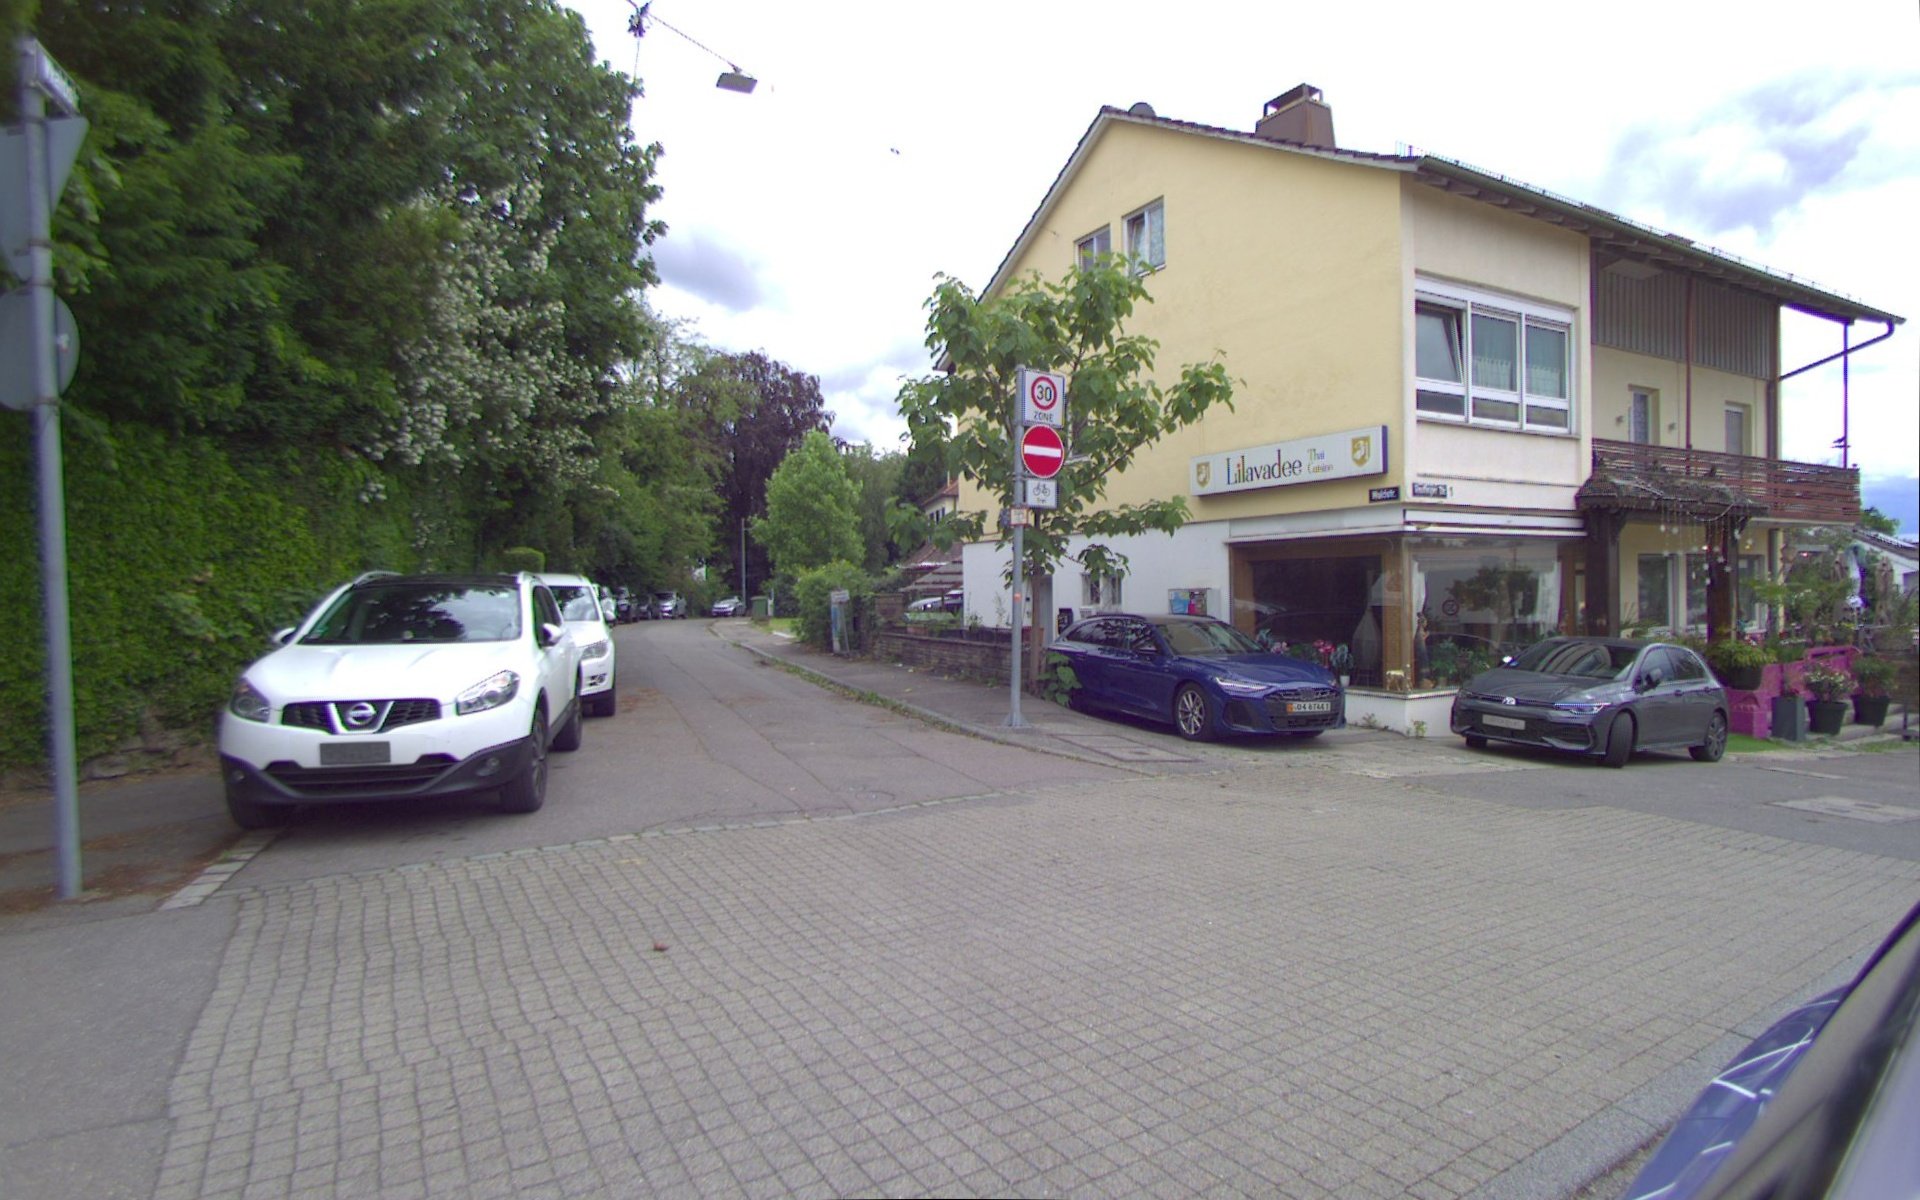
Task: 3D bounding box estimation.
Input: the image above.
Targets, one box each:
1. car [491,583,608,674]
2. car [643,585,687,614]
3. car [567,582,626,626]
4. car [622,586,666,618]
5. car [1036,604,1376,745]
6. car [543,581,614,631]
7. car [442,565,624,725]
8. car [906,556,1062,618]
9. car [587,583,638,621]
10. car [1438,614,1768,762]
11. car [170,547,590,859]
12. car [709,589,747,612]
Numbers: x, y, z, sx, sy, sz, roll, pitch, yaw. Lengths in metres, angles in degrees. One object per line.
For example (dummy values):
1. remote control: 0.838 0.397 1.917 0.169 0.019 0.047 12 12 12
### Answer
1. car: -7.391 0.422 18.467 1.761 1.441 4.080 -1 1 -20
2. car: -16.246 -0.036 55.800 1.543 1.502 3.476 0 1 -3
3. car: -13.429 0.107 37.551 1.542 1.502 3.481 -1 1 -11
4. car: -15.923 0.079 51.118 1.542 1.502 3.479 -1 1 -8
5. car: 2.910 0.831 13.217 1.761 1.405 4.758 2 0 -23
6. car: -12.222 0.142 32.598 1.542 1.502 3.745 -1 1 -11
7. car: -5.181 0.437 12.616 1.761 1.643 4.080 -1 1 -20
8. car: 0.698 -0.369 30.321 4.235 1.480 1.802 4 -2 -19
9. car: -14.213 0.049 41.532 1.542 1.502 3.481 -1 1 -11
10. car: 7.939 1.069 12.378 4.242 1.480 1.800 5 -2 -34
11. car: -3.871 0.510 7.561 1.761 1.643 4.144 -1 1 -16
12. car: -16.355 0.034 71.463 1.547 1.502 3.468 0 1 7
